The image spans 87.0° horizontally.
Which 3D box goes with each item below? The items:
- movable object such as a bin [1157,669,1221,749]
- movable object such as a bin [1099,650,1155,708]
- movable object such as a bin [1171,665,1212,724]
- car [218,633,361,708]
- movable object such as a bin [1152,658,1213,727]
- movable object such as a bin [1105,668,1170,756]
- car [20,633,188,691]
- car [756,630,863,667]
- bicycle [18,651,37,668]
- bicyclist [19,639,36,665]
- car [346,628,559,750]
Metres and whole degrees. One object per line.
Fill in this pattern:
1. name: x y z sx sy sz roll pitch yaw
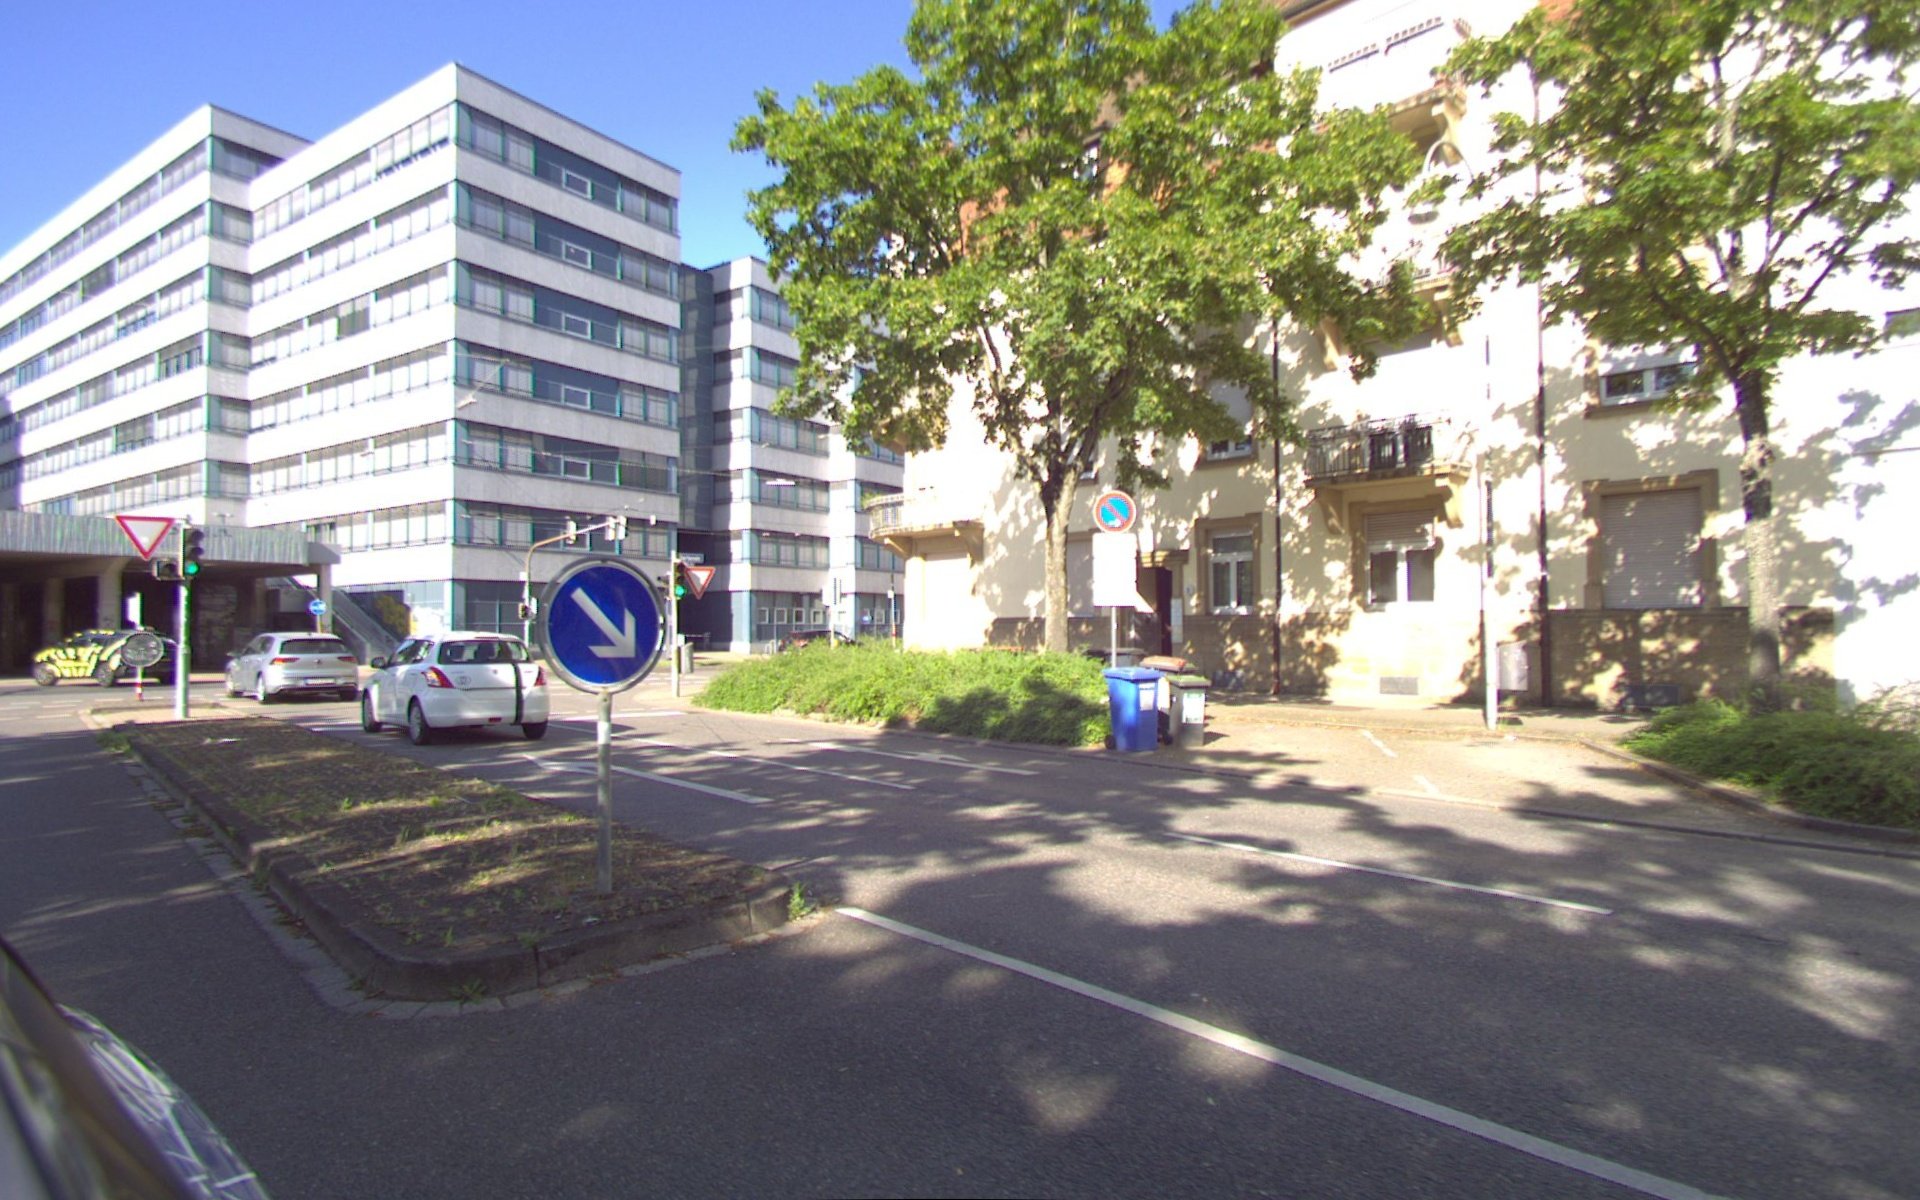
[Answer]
1. movable object such as a bin: 3.030 1.426 13.404 0.507 0.983 0.640 0 -2 -34
2. movable object such as a bin: 3.079 1.437 18.689 0.772 1.008 0.640 0 -2 -35
3. movable object such as a bin: 3.541 1.440 15.478 0.398 0.860 0.440 0 -2 -34
4. car: -14.511 1.470 21.821 3.850 1.463 1.689 -2 -3 43
5. movable object such as a bin: 3.133 1.288 14.264 0.507 0.920 0.640 0 -2 -34
6. movable object such as a bin: 2.278 1.419 13.030 0.507 1.055 0.640 0 -2 -34
7. car: -23.598 1.680 27.900 4.086 1.525 1.781 -1 -2 21
8. car: -6.163 1.991 41.794 1.805 1.462 4.267 -2 -3 40
9. bicycle: -60.771 3.884 65.943 1.855 1.098 0.521 -2 -3 34
10. bicyclist: -60.781 3.392 65.980 0.907 1.645 0.600 -2 -3 34
11. car: -7.434 1.211 14.669 1.684 1.524 3.866 4 -5 -43
